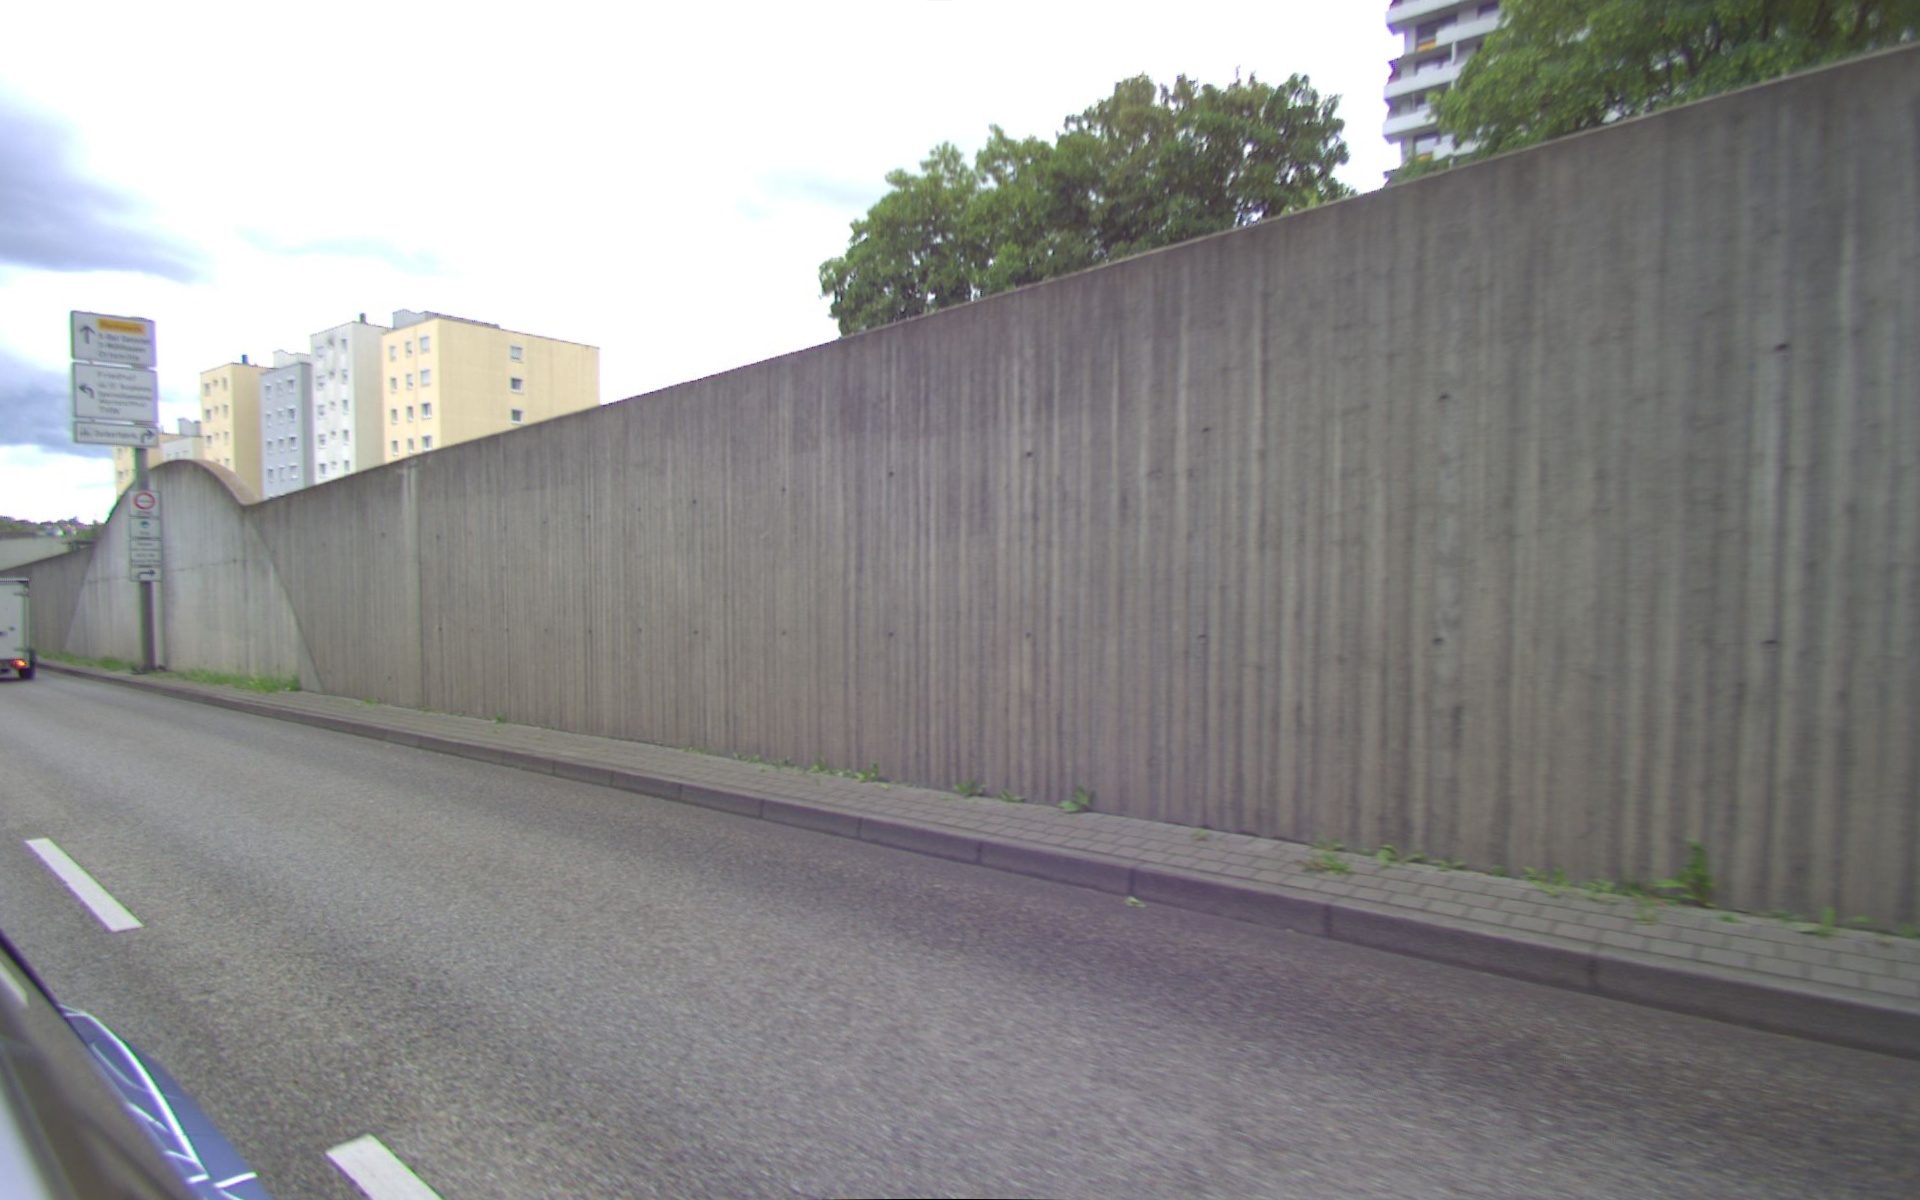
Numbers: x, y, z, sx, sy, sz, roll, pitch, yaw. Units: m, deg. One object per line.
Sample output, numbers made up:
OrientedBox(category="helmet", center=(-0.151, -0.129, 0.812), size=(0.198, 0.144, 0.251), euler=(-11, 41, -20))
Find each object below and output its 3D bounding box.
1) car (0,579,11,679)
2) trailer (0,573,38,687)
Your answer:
OrientedBox(category="car", center=(-28.626, 0.823, 28.496), size=(7.413, 2.650, 2.088), euler=(-1, -1, 41))
OrientedBox(category="trailer", center=(-24.159, 0.738, 24.617), size=(4.369, 2.650, 2.088), euler=(-1, -1, 41))
